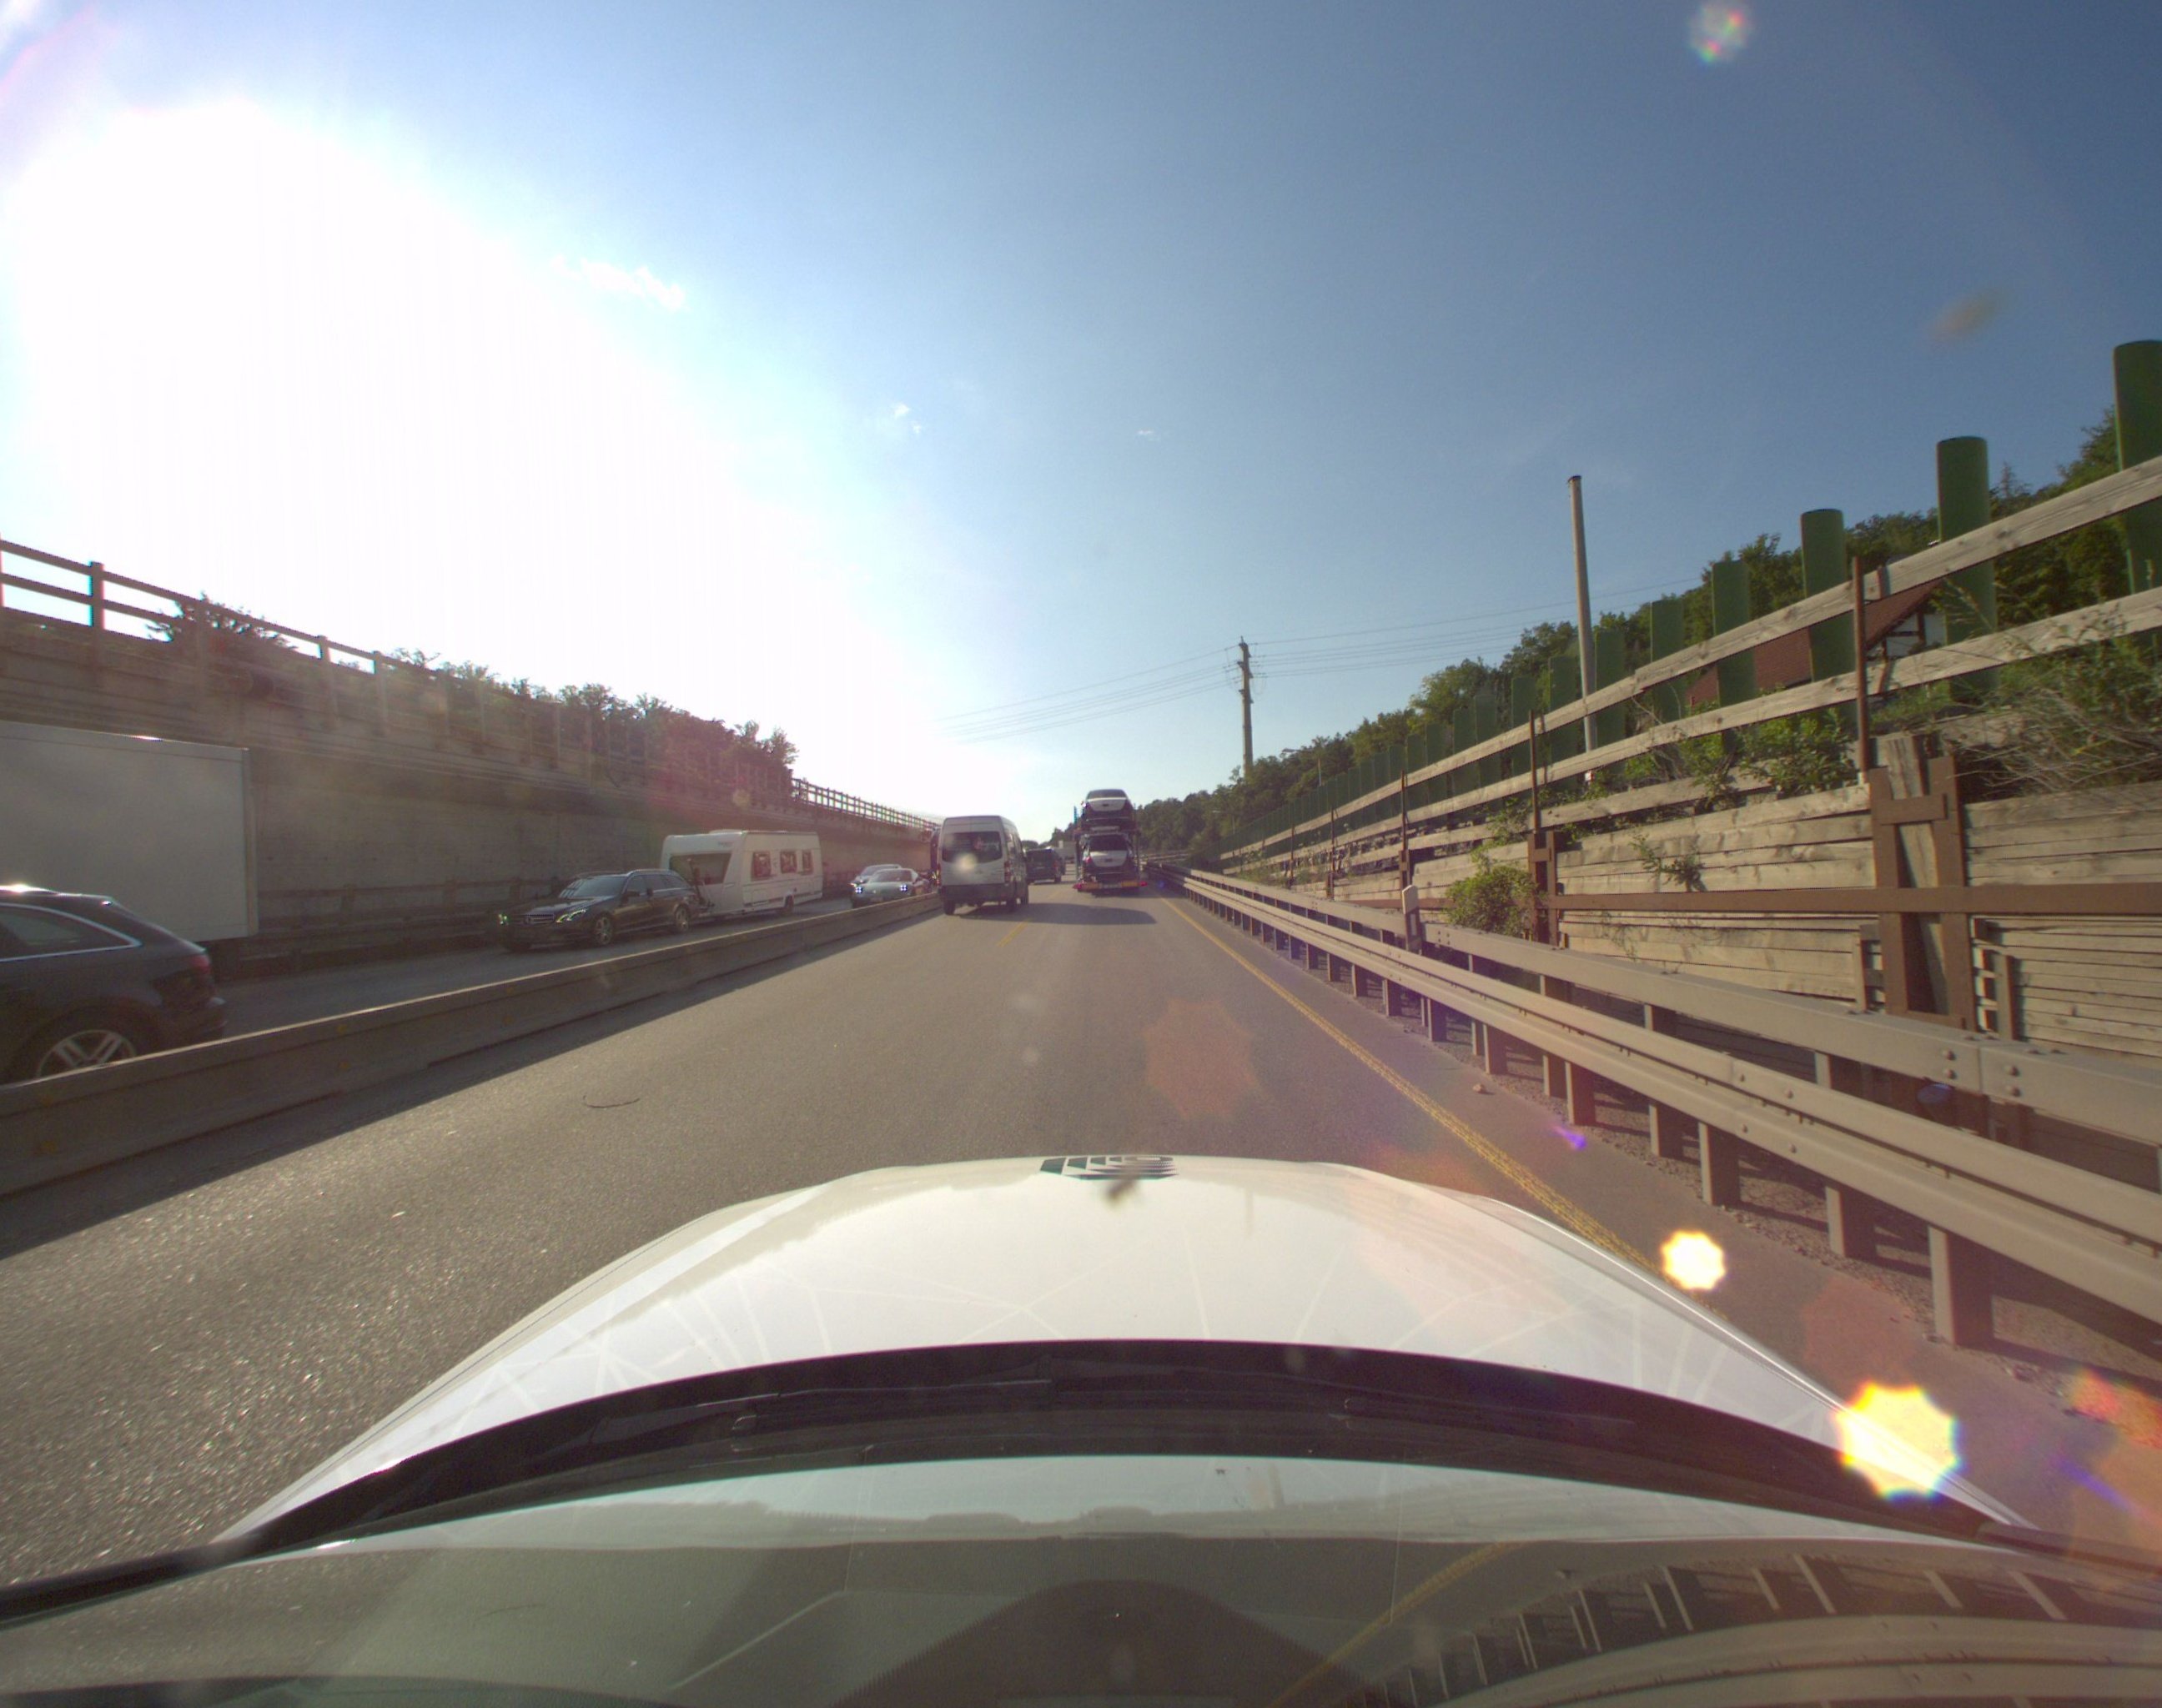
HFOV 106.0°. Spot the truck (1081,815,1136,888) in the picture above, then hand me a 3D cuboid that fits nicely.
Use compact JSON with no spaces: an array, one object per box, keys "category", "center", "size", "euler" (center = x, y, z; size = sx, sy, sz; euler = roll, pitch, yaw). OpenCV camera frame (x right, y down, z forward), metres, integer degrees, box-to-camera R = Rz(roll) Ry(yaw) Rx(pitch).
[{"category":"truck","center":[1.502,-0.039,43.174],"size":[2.672,3.535,7.197],"euler":[0,-1,3]}]

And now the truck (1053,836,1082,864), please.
[{"category":"truck","center":[-2.521,-0.593,145.393],"size":[4.062,4.679,10.564],"euler":[-1,-1,-7]}]

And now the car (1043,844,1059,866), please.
[{"category":"car","center":[-7.022,0.333,189.222],"size":[3.438,5.035,9.640],"euler":[0,-1,-3]}]

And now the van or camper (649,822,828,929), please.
[{"category":"van or camper","center":[-9.784,0.582,24.093],"size":[2.303,2.663,6.457],"euler":[-2,-1,2]}]

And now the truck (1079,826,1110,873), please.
[{"category":"truck","center":[1.339,-0.384,84.452],"size":[2.899,4.607,7.283],"euler":[-1,-1,-1]}]

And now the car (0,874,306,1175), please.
[{"category":"car","center":[-6.627,0.897,3.757],"size":[1.736,1.596,4.555],"euler":[0,-1,-1]}]

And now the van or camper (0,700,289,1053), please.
[{"category":"van or camper","center":[-10.330,0.204,6.265],"size":[2.311,2.989,6.224],"euler":[-2,-1,1]}]

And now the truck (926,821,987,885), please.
[{"category":"truck","center":[-8.838,-0.010,58.788],"size":[2.615,4.112,9.627],"euler":[-3,0,0]}]

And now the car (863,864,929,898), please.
[{"category":"car","center":[-8.820,1.259,39.312],"size":[1.965,1.421,4.900],"euler":[-3,0,0]}]

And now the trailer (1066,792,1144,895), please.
[{"category":"trailer","center":[1.173,-0.218,35.607],"size":[2.672,3.535,15.296],"euler":[0,-1,3]}]

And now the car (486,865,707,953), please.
[{"category":"car","center":[-9.886,1.038,17.158],"size":[1.634,1.531,4.785],"euler":[-2,-1,2]}]

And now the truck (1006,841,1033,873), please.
[{"category":"truck","center":[-8.377,0.468,112.722],"size":[2.974,4.153,15.845],"euler":[0,-1,-1]}]

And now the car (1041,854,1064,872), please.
[{"category":"car","center":[-2.412,0.757,69.997],"size":[1.719,1.522,3.973],"euler":[0,0,1]}]

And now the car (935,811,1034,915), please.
[{"category":"car","center":[-2.657,0.251,23.847],"size":[1.986,2.648,5.533],"euler":[-1,0,2]}]

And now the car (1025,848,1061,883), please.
[{"category":"car","center":[-2.144,0.679,47.020],"size":[1.802,1.904,4.000],"euler":[0,-2,1]}]

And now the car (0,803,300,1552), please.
[{"category":"car","center":[-3.213,0.726,0.243],"size":[1.674,1.588,4.274],"euler":[-2,0,2]}]

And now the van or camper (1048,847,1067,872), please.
[{"category":"van or camper","center":[-2.551,0.644,89.169],"size":[1.962,2.592,5.039],"euler":[0,-1,-1]}]

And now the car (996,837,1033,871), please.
[{"category":"car","center":[-5.208,0.045,64.422],"size":[2.462,2.534,4.001],"euler":[-1,-1,2]}]

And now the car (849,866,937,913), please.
[{"category":"car","center":[-6.006,1.102,26.467],"size":[1.775,1.325,4.240],"euler":[-1,0,1]}]

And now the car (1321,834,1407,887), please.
[{"category":"car","center":[10.734,0.308,31.208],"size":[1.800,1.871,4.440],"euler":[-1,-2,1]}]
